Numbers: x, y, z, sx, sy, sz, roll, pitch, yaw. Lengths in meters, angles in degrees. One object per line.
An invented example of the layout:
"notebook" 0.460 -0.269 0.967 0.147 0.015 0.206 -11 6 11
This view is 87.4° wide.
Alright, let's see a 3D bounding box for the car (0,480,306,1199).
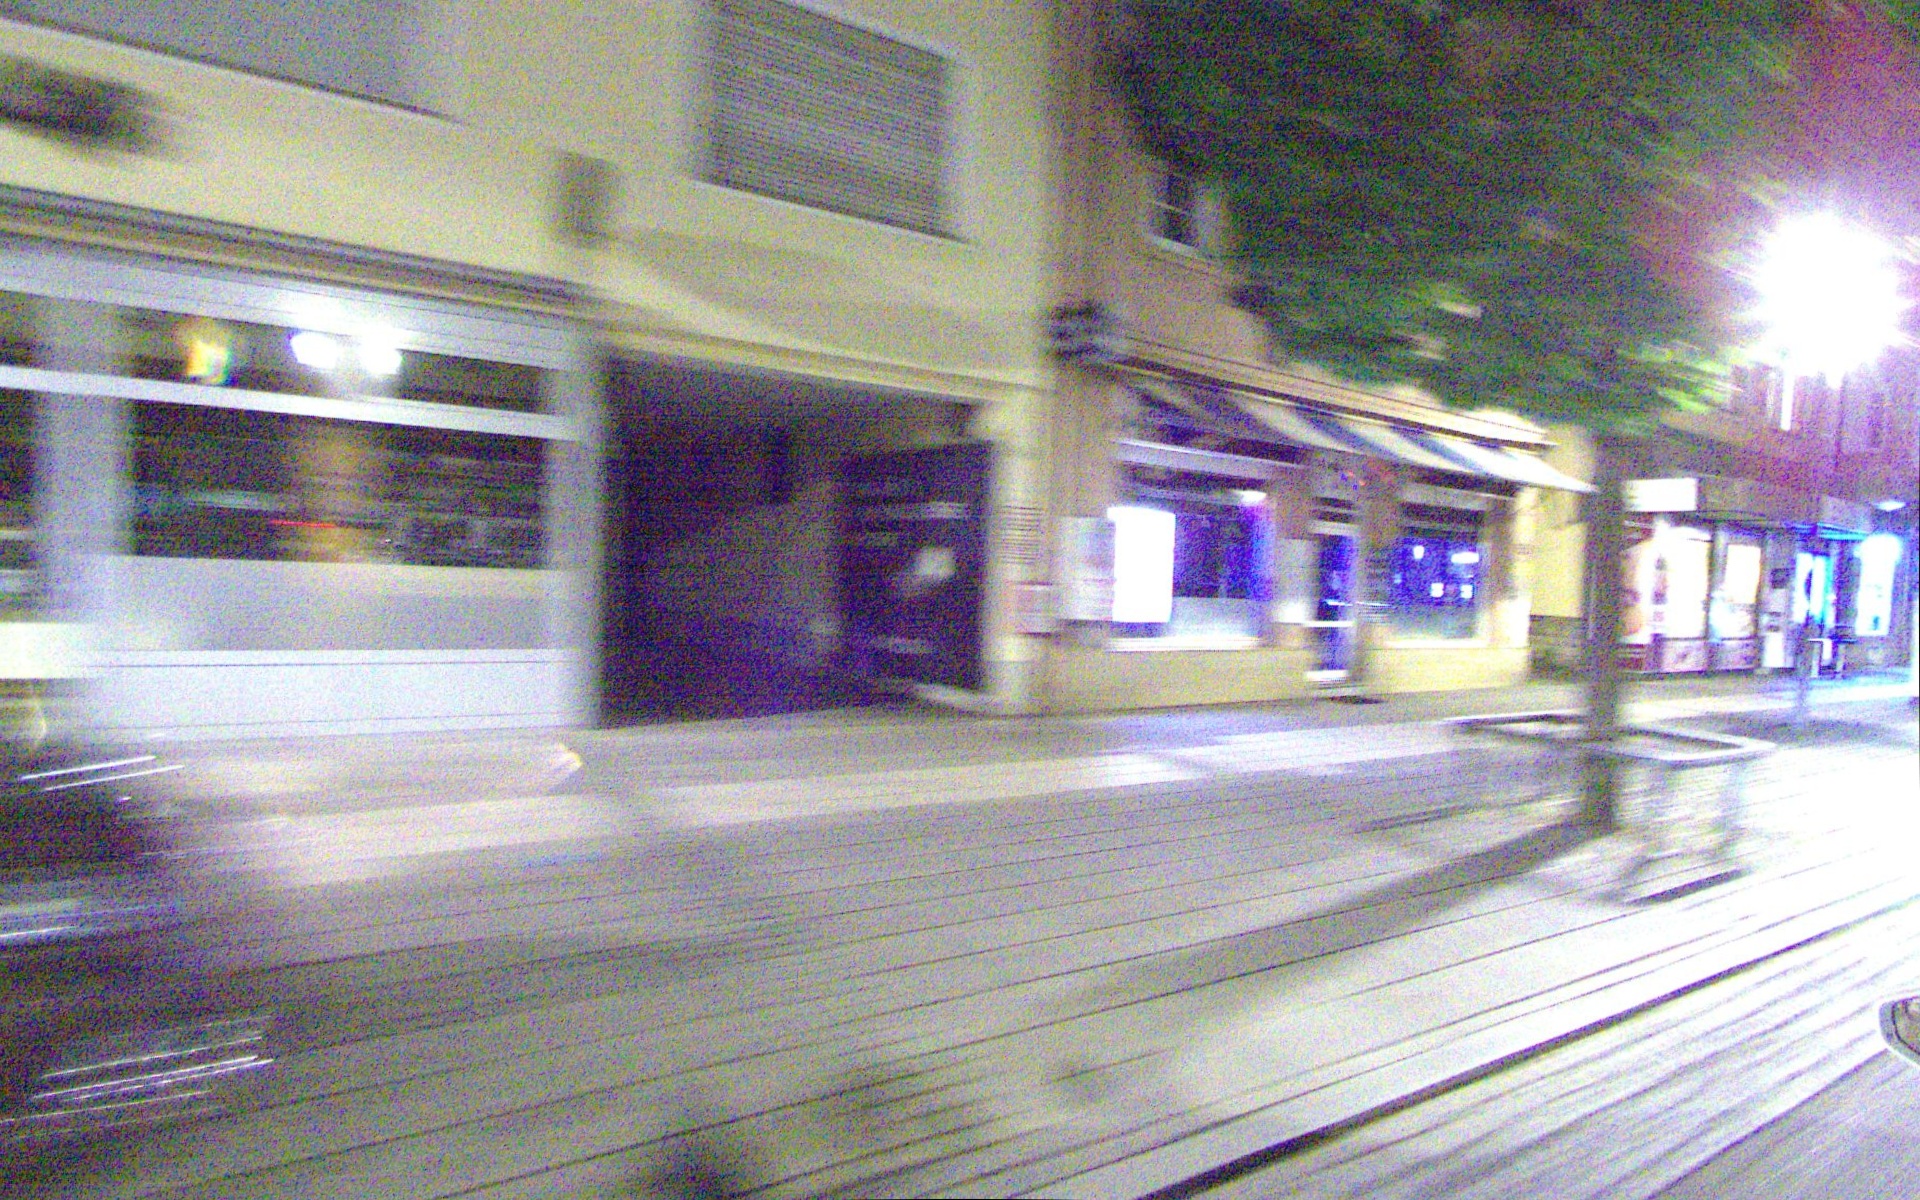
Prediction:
"car" -3.536 0.490 1.557 4.187 1.564 1.662 1 2 -35
